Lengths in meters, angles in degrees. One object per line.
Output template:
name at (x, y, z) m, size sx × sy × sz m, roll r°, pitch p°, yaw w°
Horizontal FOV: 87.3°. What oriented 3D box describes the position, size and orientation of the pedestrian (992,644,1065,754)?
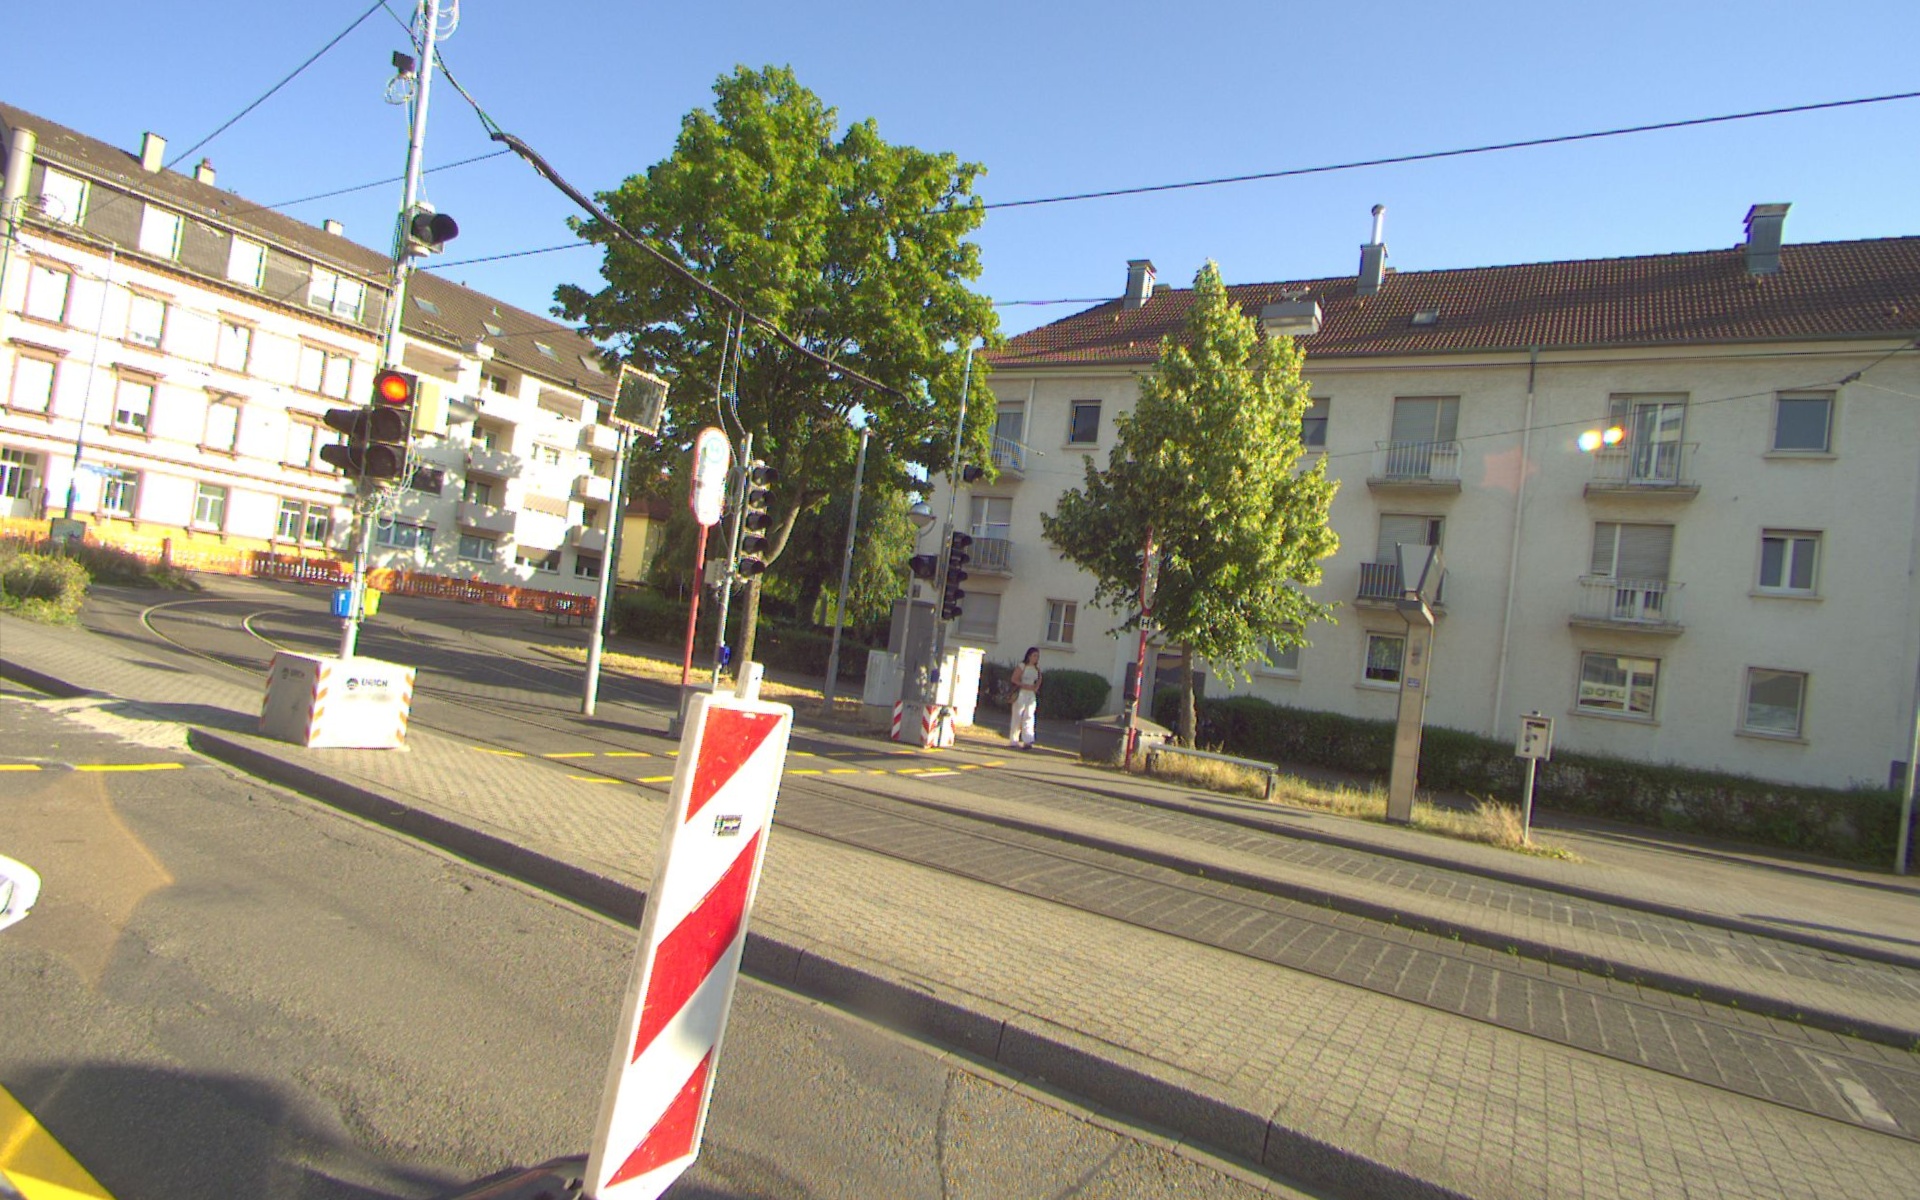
pedestrian at (1.102, 1.587, 16.368) m, size 0.813 × 1.639 × 0.789 m, roll 7°, pitch -1°, yaw -13°
